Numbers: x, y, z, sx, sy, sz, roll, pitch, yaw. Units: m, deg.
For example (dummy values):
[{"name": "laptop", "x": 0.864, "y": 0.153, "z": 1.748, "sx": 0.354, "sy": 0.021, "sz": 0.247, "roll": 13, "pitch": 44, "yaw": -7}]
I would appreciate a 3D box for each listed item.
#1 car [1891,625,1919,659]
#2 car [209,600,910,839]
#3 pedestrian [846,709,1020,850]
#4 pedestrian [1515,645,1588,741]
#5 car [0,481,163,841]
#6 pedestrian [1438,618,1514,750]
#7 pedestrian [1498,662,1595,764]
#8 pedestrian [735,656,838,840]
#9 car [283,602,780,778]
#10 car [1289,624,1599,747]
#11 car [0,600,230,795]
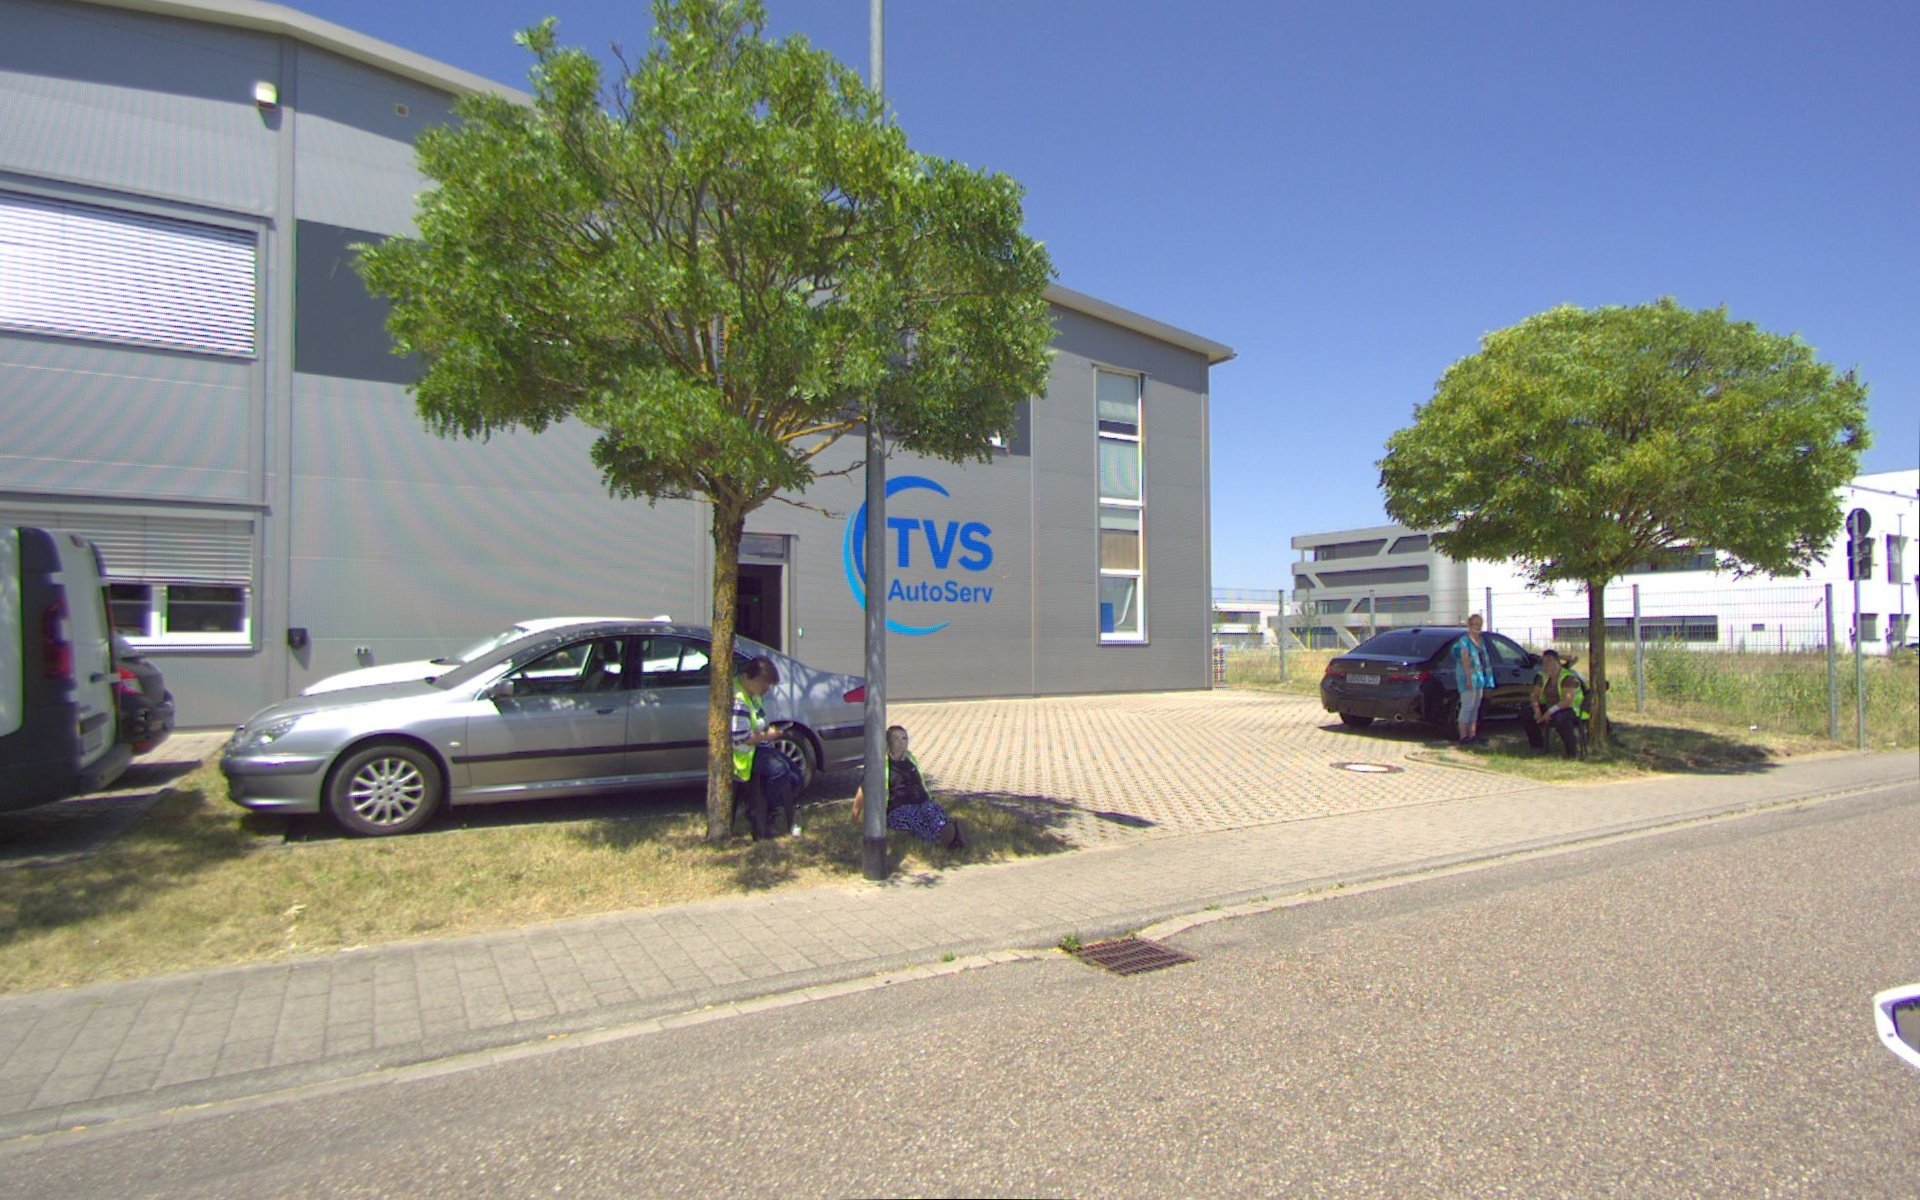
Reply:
[{"name": "car", "x": 57.997, "y": 2.455, "z": 58.946, "sx": 2.007, "sy": 1.968, "sz": 4.508, "roll": 1, "pitch": -3, "yaw": -30}, {"name": "car", "x": -2.968, "y": 0.865, "z": 8.190, "sx": 4.785, "sy": 1.459, "sz": 1.918, "roll": 3, "pitch": -4, "yaw": -30}, {"name": "pedestrian", "x": -0.233, "y": 1.267, "z": 7.396, "sx": 0.743, "sy": 0.759, "sz": 1.352, "roll": 1, "pitch": 0, "yaw": -28}, {"name": "pedestrian", "x": 7.858, "y": 1.216, "z": 13.339, "sx": 0.744, "sy": 1.207, "sz": 0.503, "roll": 1, "pitch": 0, "yaw": -29}, {"name": "car", "x": -7.640, "y": 0.327, "z": 5.371, "sx": 5.071, "sy": 2.045, "sz": 1.827, "roll": 2, "pitch": -3, "yaw": -33}, {"name": "pedestrian", "x": 6.559, "y": 1.050, "z": 12.771, "sx": 0.744, "sy": 1.616, "sz": 0.503, "roll": 1, "pitch": 0, "yaw": -29}, {"name": "pedestrian", "x": 6.983, "y": 1.322, "z": 11.969, "sx": 0.638, "sy": 1.113, "sz": 0.748, "roll": 1, "pitch": 0, "yaw": -27}, {"name": "pedestrian", "x": -1.189, "y": 0.992, "z": 6.841, "sx": 0.547, "sy": 1.165, "sz": 0.478, "roll": 4, "pitch": 0, "yaw": -21}, {"name": "car", "x": -4.313, "y": 0.805, "z": 10.490, "sx": 4.413, "sy": 1.484, "sz": 1.917, "roll": 1, "pitch": 0, "yaw": -30}, {"name": "car", "x": 7.120, "y": 1.133, "z": 14.636, "sx": 4.640, "sy": 1.484, "sz": 1.916, "roll": 1, "pitch": 0, "yaw": -32}, {"name": "car", "x": -8.422, "y": 0.731, "z": 8.020, "sx": 4.042, "sy": 1.460, "sz": 1.916, "roll": 1, "pitch": 0, "yaw": -33}]
